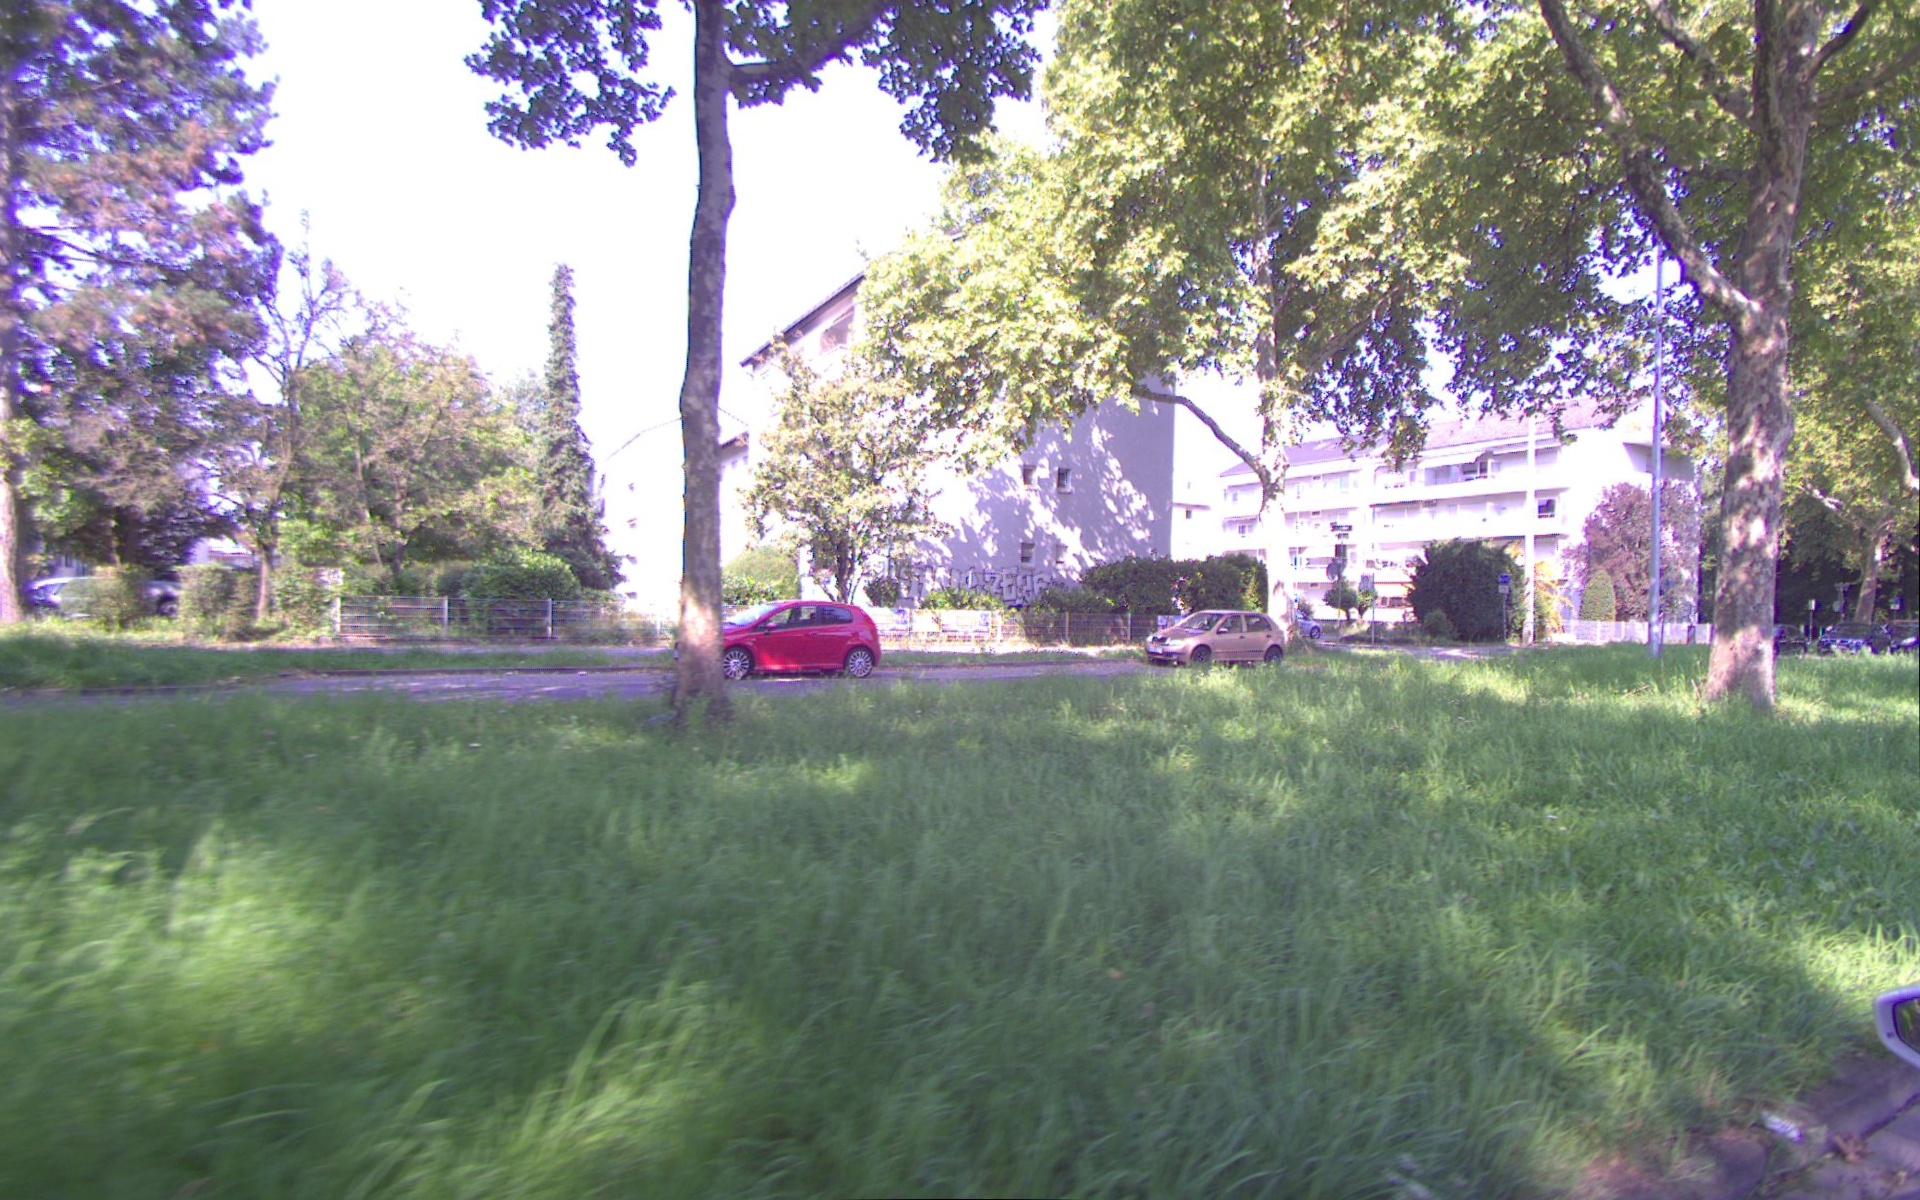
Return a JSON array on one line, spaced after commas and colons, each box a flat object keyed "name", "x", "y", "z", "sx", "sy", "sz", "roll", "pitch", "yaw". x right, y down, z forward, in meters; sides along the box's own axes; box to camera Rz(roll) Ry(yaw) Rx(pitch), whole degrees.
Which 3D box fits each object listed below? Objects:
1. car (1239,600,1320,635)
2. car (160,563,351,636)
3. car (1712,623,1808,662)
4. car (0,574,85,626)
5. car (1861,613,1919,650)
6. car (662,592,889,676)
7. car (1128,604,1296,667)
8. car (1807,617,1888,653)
[{"name": "car", "x": 16.160, "y": 0.894, "z": 50.805, "sx": 3.695, "sy": 1.648, "sz": 1.605, "roll": 2, "pitch": 0, "yaw": -24}, {"name": "car", "x": -20.238, "y": 0.002, "z": 29.090, "sx": 4.208, "sy": 1.926, "sz": 1.838, "roll": 2, "pitch": 0, "yaw": -26}, {"name": "car", "x": 33.661, "y": 1.796, "z": 42.259, "sx": 4.488, "sy": 1.528, "sz": 1.691, "roll": 2, "pitch": 0, "yaw": -31}, {"name": "car", "x": -29.179, "y": -0.049, "z": 29.848, "sx": 4.391, "sy": 1.490, "sz": 1.838, "roll": 2, "pitch": 0, "yaw": -26}, {"name": "car", "x": 47.487, "y": 1.621, "z": 50.695, "sx": 4.606, "sy": 1.755, "sz": 1.691, "roll": 2, "pitch": 0, "yaw": -31}, {"name": "car", "x": -3.514, "y": 0.649, "z": 19.340, "sx": 4.015, "sy": 1.471, "sz": 1.531, "roll": 2, "pitch": 0, "yaw": -30}, {"name": "car", "x": 6.422, "y": 0.881, "z": 25.565, "sx": 4.015, "sy": 1.449, "sz": 1.794, "roll": 1, "pitch": 1, "yaw": -29}, {"name": "car", "x": 41.058, "y": 1.631, "z": 46.449, "sx": 3.954, "sy": 1.588, "sz": 1.691, "roll": 2, "pitch": 0, "yaw": -31}]
